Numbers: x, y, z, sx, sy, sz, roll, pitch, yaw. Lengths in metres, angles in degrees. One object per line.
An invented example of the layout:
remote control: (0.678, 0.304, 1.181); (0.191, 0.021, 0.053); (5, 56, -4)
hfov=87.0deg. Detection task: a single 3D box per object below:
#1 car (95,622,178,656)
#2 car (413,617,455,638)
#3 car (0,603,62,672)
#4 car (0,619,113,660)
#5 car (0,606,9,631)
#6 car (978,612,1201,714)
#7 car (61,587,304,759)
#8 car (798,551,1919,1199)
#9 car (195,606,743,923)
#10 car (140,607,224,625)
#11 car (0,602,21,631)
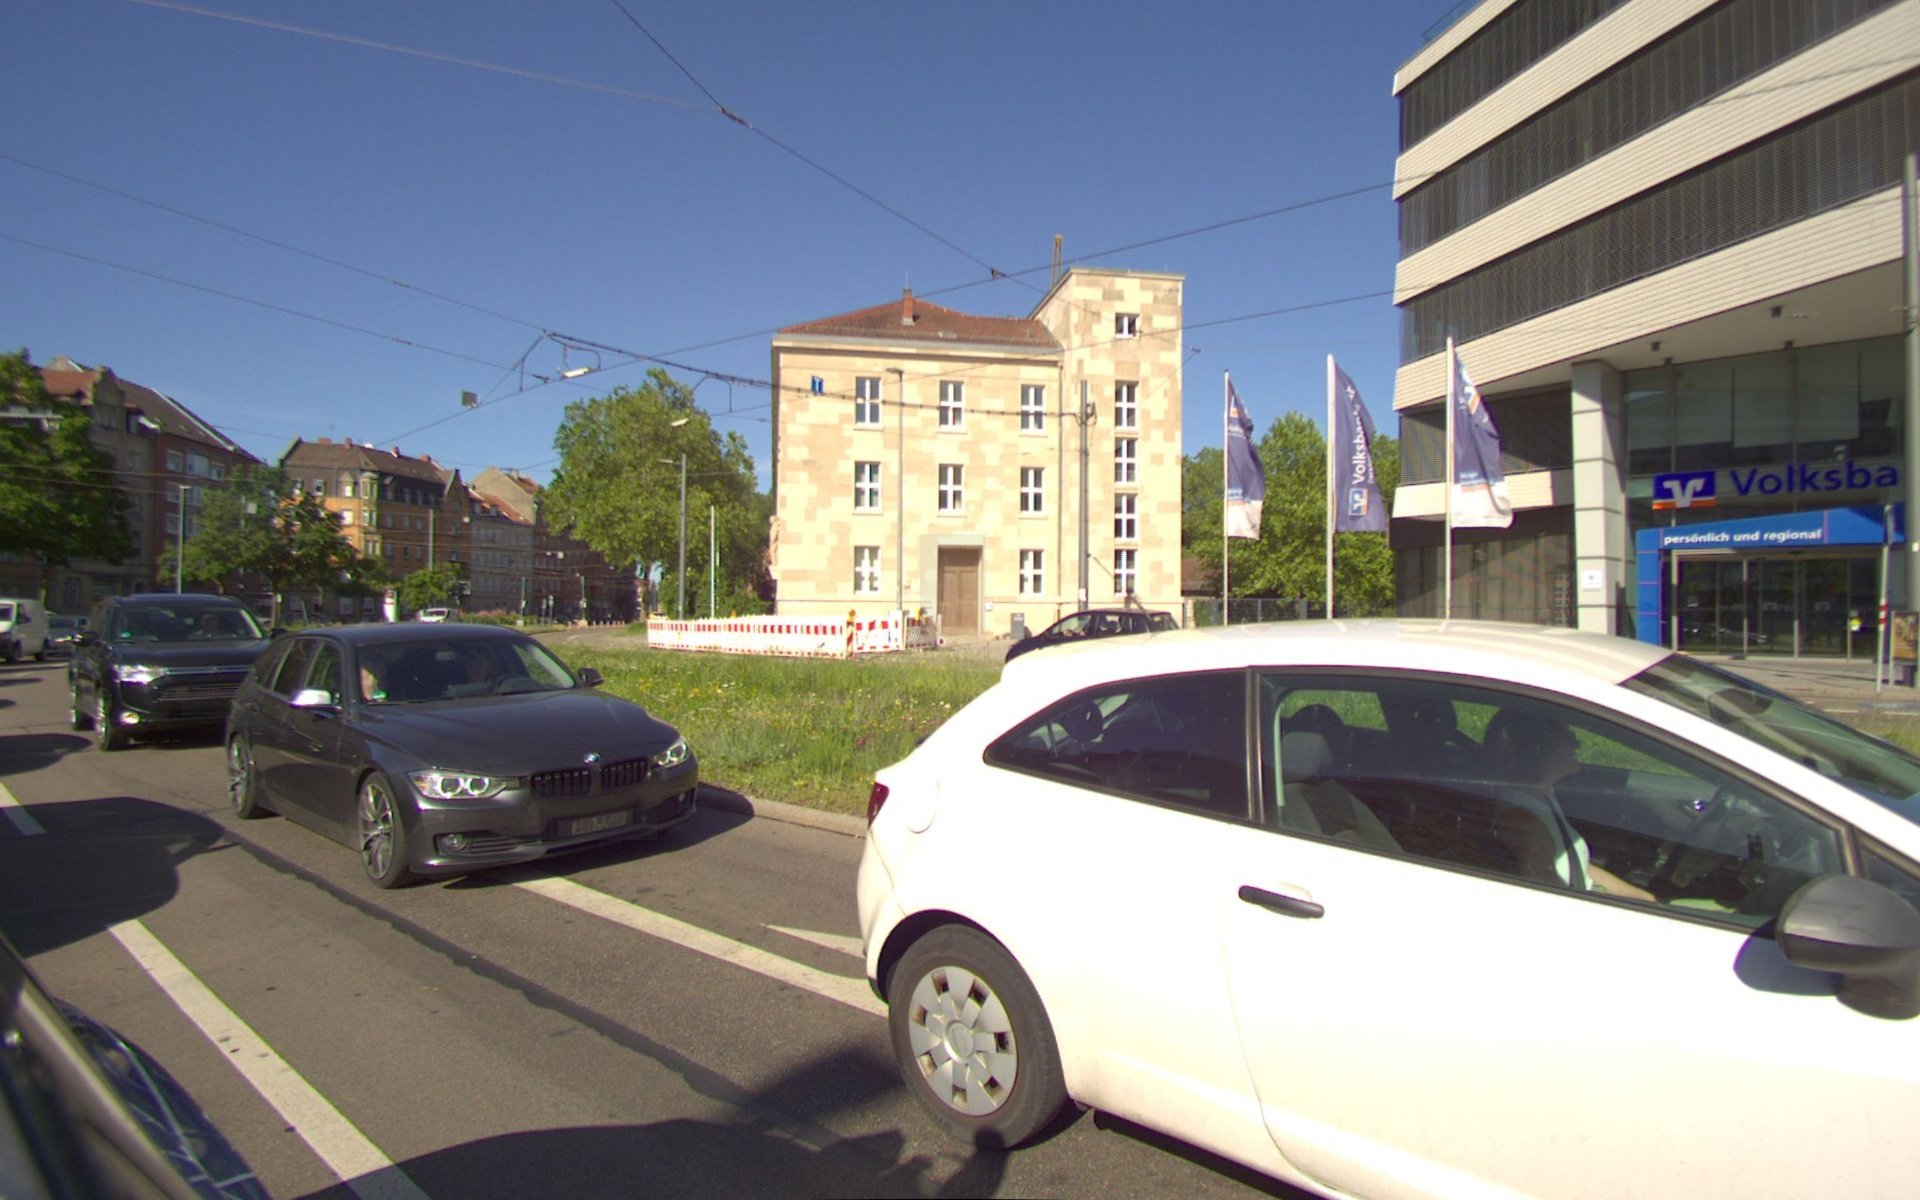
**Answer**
car: (-36.158, 1.674, 44.562); (1.799, 1.395, 4.670); (1, -1, -26)
car: (-40.660, 2.130, 78.316); (1.844, 1.568, 4.009); (0, -1, -11)
car: (-29.326, 1.103, 30.731); (1.842, 1.997, 4.670); (1, -1, -26)
car: (-32.502, 1.383, 36.566); (1.842, 1.395, 4.670); (1, -1, -26)
car: (-49.781, 0.910, 49.668); (4.329, 1.243, 2.004); (1, -1, -37)
car: (2.424, 1.134, 19.541); (3.999, 1.763, 1.746); (-1, -2, 42)
car: (-9.425, 0.739, 12.125); (4.329, 1.697, 1.744); (-1, 0, 45)
car: (1.509, 0.633, 2.412); (3.834, 1.441, 1.647); (-1, 1, 41)
car: (-3.549, 0.784, 6.840); (4.483, 1.441, 1.816); (-1, 0, 42)
car: (-53.754, 1.110, 69.998); (2.000, 1.219, 4.338); (-1, -2, 43)
car: (-51.466, 0.853, 52.106); (4.329, 1.472, 2.004); (1, -2, -37)
